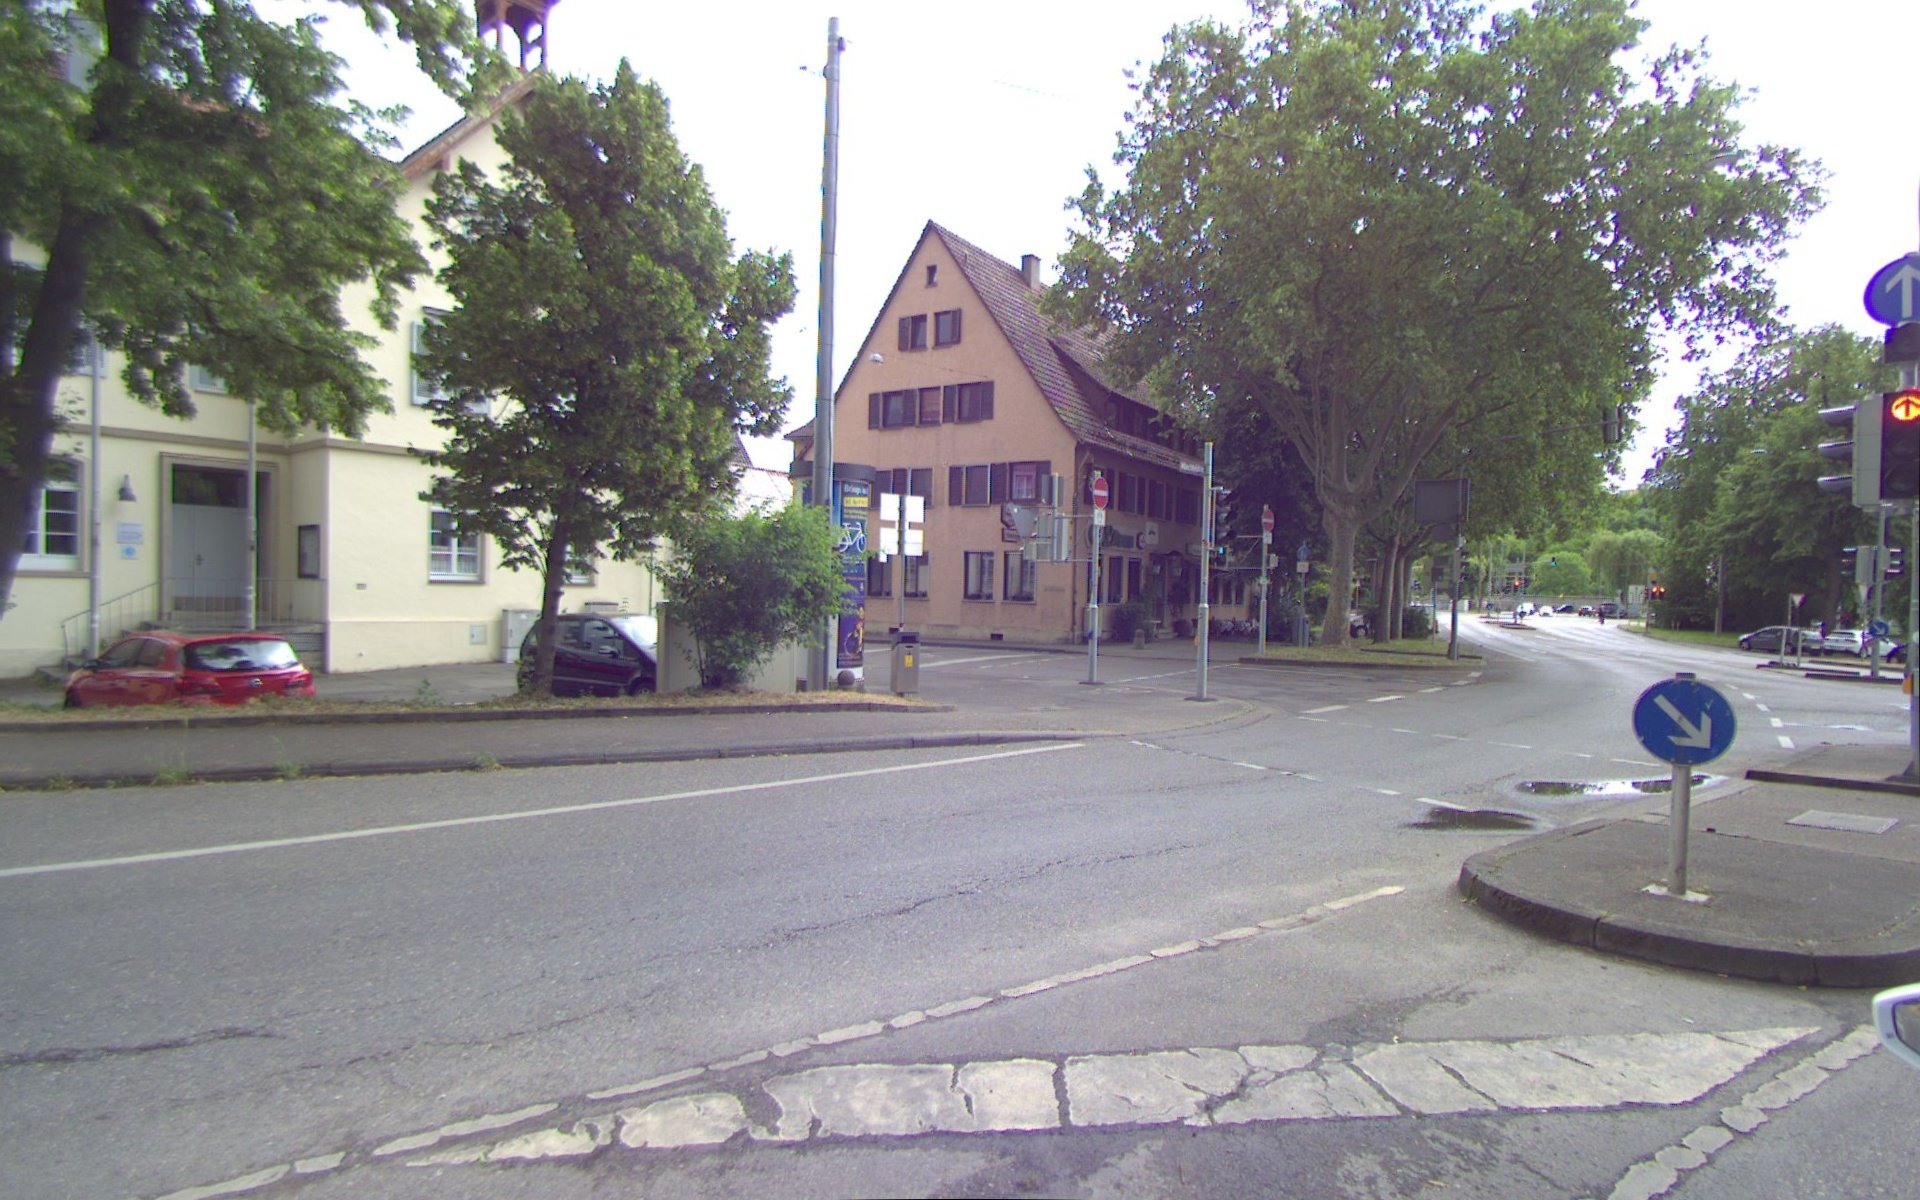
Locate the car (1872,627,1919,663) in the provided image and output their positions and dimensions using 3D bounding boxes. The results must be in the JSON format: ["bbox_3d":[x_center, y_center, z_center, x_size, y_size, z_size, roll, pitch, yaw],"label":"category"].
[{"bbox_3d":[39.452,1.856,40.768,1.746,1.370,3.326,2,0,-2],"label":"car"}]

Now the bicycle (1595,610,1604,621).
[{"bbox_3d":[58.753,1.431,92.321,0.548,0.971,2.029,2,0,30],"label":"bicycle"}]

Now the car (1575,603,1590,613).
[{"bbox_3d":[105.486,1.308,170.196,1.964,1.617,3.994,2,0,28],"label":"car"}]

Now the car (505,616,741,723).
[{"bbox_3d":[-5.526,1.060,16.444,3.507,1.459,1.644,2,0,26],"label":"car"}]

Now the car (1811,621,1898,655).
[{"bbox_3d":[47.467,2.031,53.329,3.696,1.662,1.859,2,0,-19],"label":"car"}]

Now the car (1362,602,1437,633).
[{"bbox_3d":[25.734,1.004,58.786,3.924,1.706,1.998,1,0,25],"label":"car"}]

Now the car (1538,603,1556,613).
[{"bbox_3d":[90.822,1.217,155.458,1.469,1.436,3.028,3,0,12],"label":"car"}]

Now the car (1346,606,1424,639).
[{"bbox_3d":[24.002,1.248,56.710,3.924,1.706,1.998,1,0,25],"label":"car"}]

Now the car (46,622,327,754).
[{"bbox_3d":[-10.272,1.058,13.307,3.653,1.401,1.659,2,0,30],"label":"car"}]

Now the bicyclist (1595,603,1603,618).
[{"bbox_3d":[58.730,0.991,92.310,0.532,1.359,0.713,2,0,30],"label":"bicyclist"}]

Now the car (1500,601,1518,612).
[{"bbox_3d":[85.494,1.001,156.479,1.553,1.506,3.337,3,0,12],"label":"car"}]

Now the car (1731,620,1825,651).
[{"bbox_3d":[43.824,1.870,53.910,1.592,1.485,3.778,2,0,-11],"label":"car"}]
